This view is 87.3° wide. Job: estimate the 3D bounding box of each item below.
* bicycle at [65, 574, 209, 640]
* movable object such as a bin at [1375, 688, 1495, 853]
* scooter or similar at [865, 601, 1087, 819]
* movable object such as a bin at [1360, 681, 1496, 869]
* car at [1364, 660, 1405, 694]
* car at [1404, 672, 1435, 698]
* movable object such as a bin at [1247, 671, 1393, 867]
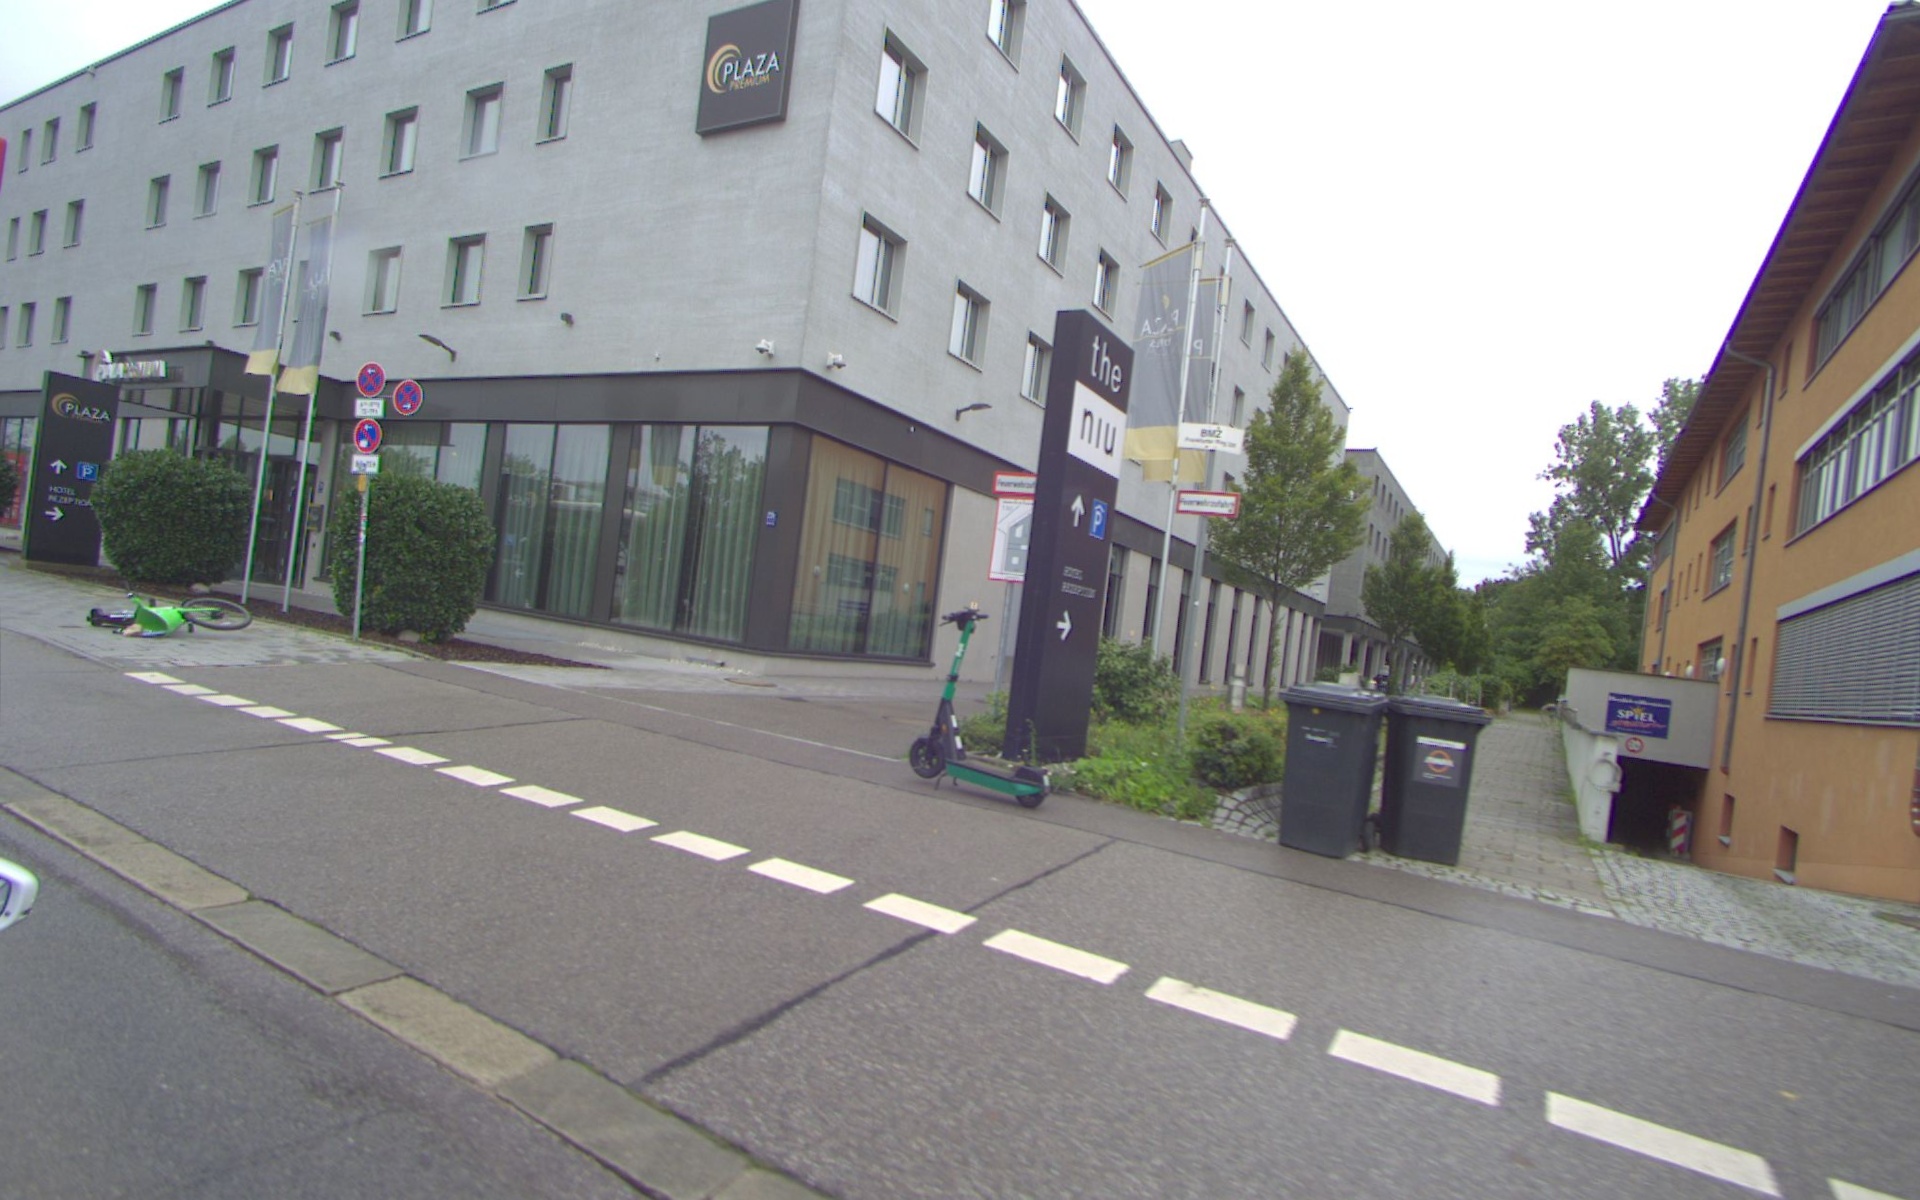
[{"bbox_3d":[-9.247,0.069,11.290,1.703,0.556,0.720,7,3,31],"label":"bicycle"},{"bbox_3d":[3.633,1.265,7.678,0.644,1.092,0.737,7,1,31],"label":"movable object such as a bin"},{"bbox_3d":[0.095,0.717,7.132,1.380,1.295,0.585,7,5,32],"label":"scooter or similar"},{"bbox_3d":[3.164,1.137,6.785,0.644,1.092,0.737,7,1,31],"label":"movable object such as a bin"},{"bbox_3d":[29.871,5.398,70.727,1.966,2.039,3.992,7,0,30],"label":"car"},{"bbox_3d":[41.077,7.545,89.893,1.966,2.039,3.992,7,0,30],"label":"car"},{"bbox_3d":[2.339,1.048,6.507,0.644,1.092,0.737,7,1,31],"label":"movable object such as a bin"}]
